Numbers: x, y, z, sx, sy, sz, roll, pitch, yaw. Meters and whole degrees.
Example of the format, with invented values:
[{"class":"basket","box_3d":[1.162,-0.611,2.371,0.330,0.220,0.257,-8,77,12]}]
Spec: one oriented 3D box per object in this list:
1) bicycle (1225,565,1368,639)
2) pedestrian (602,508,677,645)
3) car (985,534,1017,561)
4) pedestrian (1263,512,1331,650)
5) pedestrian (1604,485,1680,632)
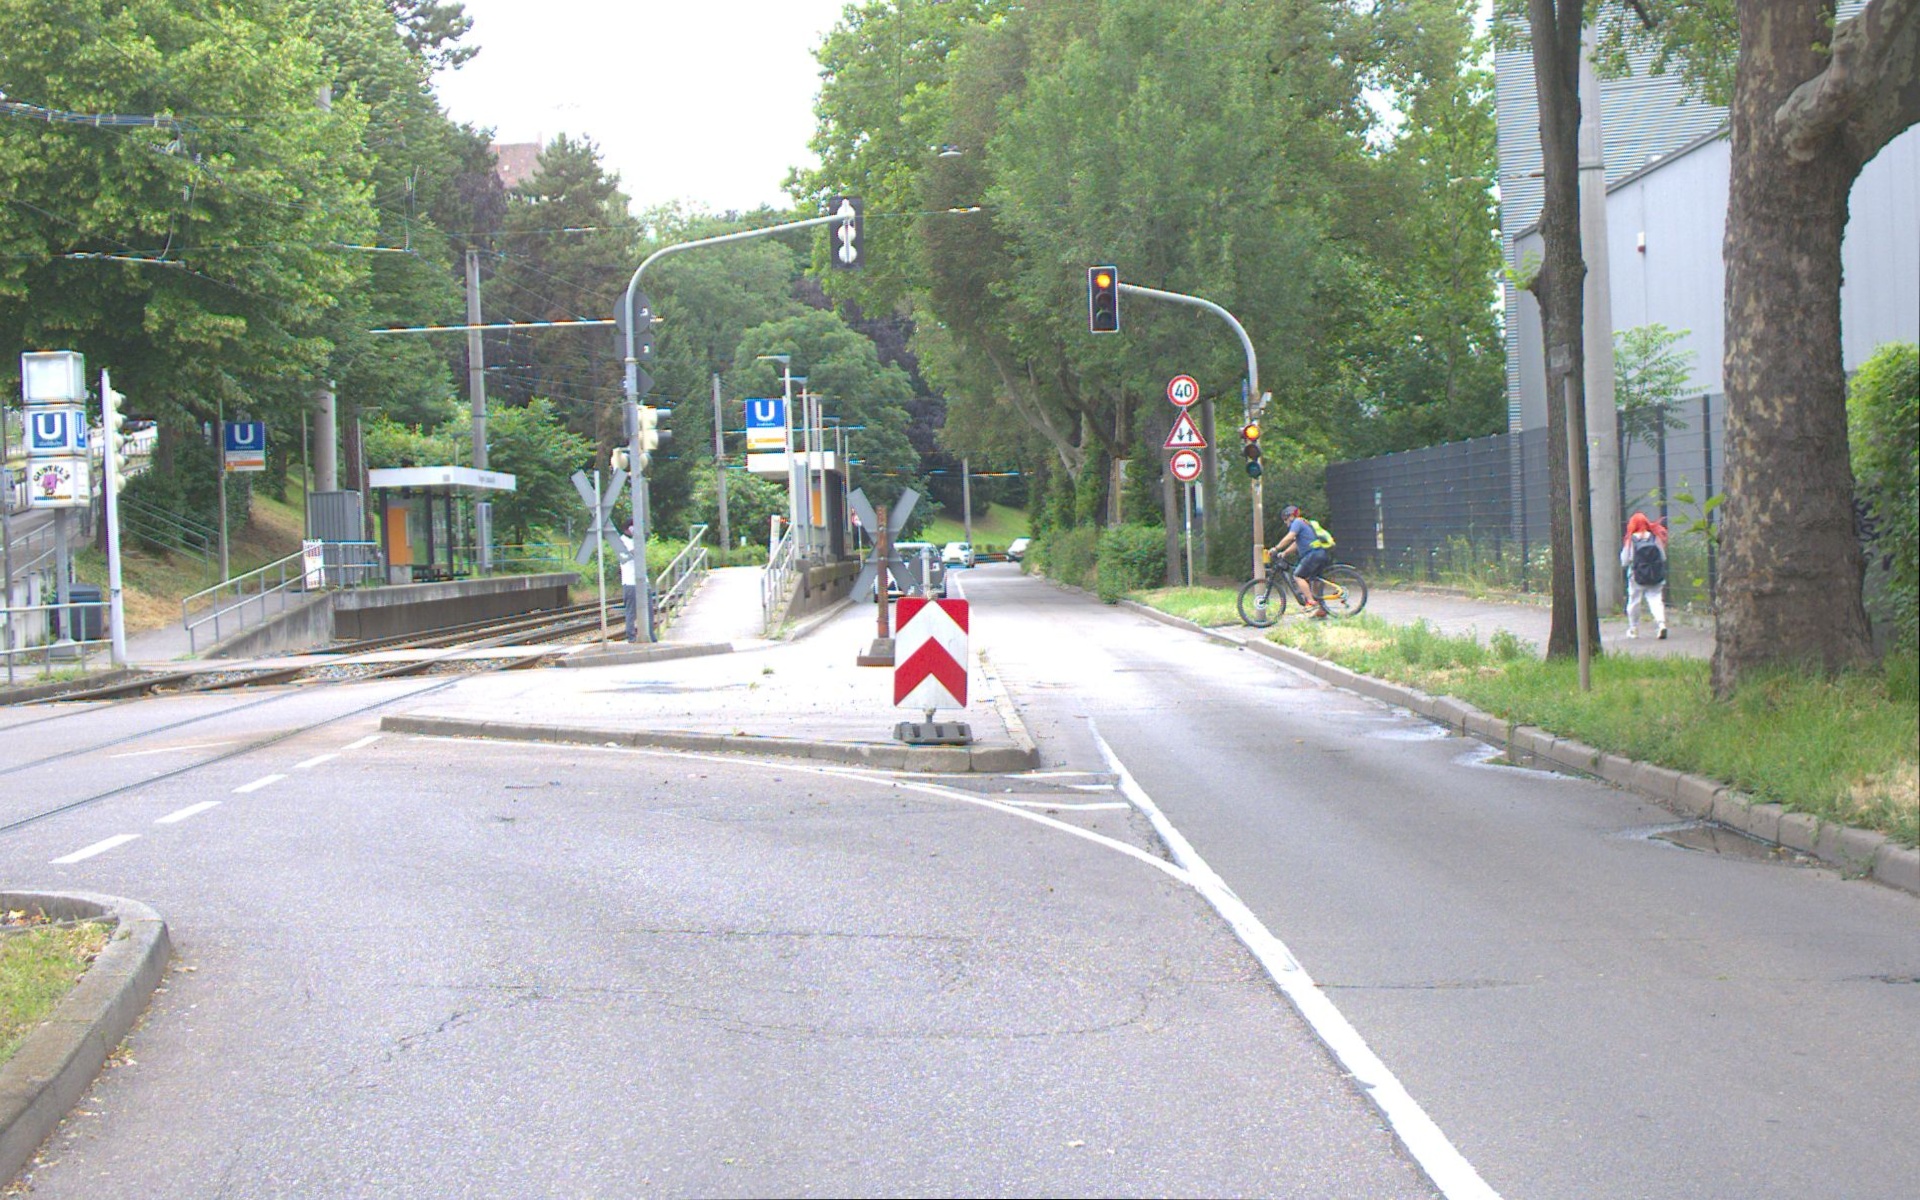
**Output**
[{"class":"bicycle","box_3d":[5.016,0.026,51.232,2.075,1.003,0.668,-2,1,6]},{"class":"pedestrian","box_3d":[-4.440,-0.329,47.656,0.907,1.846,0.771,-2,1,0]},{"class":"car","box_3d":[2.699,-3.441,224.766,1.993,1.656,4.000,4,1,1]},{"class":"pedestrian","box_3d":[5.017,-0.289,51.236,0.931,2.007,0.668,-2,1,5]},{"class":"pedestrian","box_3d":[7.416,-0.455,37.396,0.666,1.548,0.934,-2,1,5]}]
